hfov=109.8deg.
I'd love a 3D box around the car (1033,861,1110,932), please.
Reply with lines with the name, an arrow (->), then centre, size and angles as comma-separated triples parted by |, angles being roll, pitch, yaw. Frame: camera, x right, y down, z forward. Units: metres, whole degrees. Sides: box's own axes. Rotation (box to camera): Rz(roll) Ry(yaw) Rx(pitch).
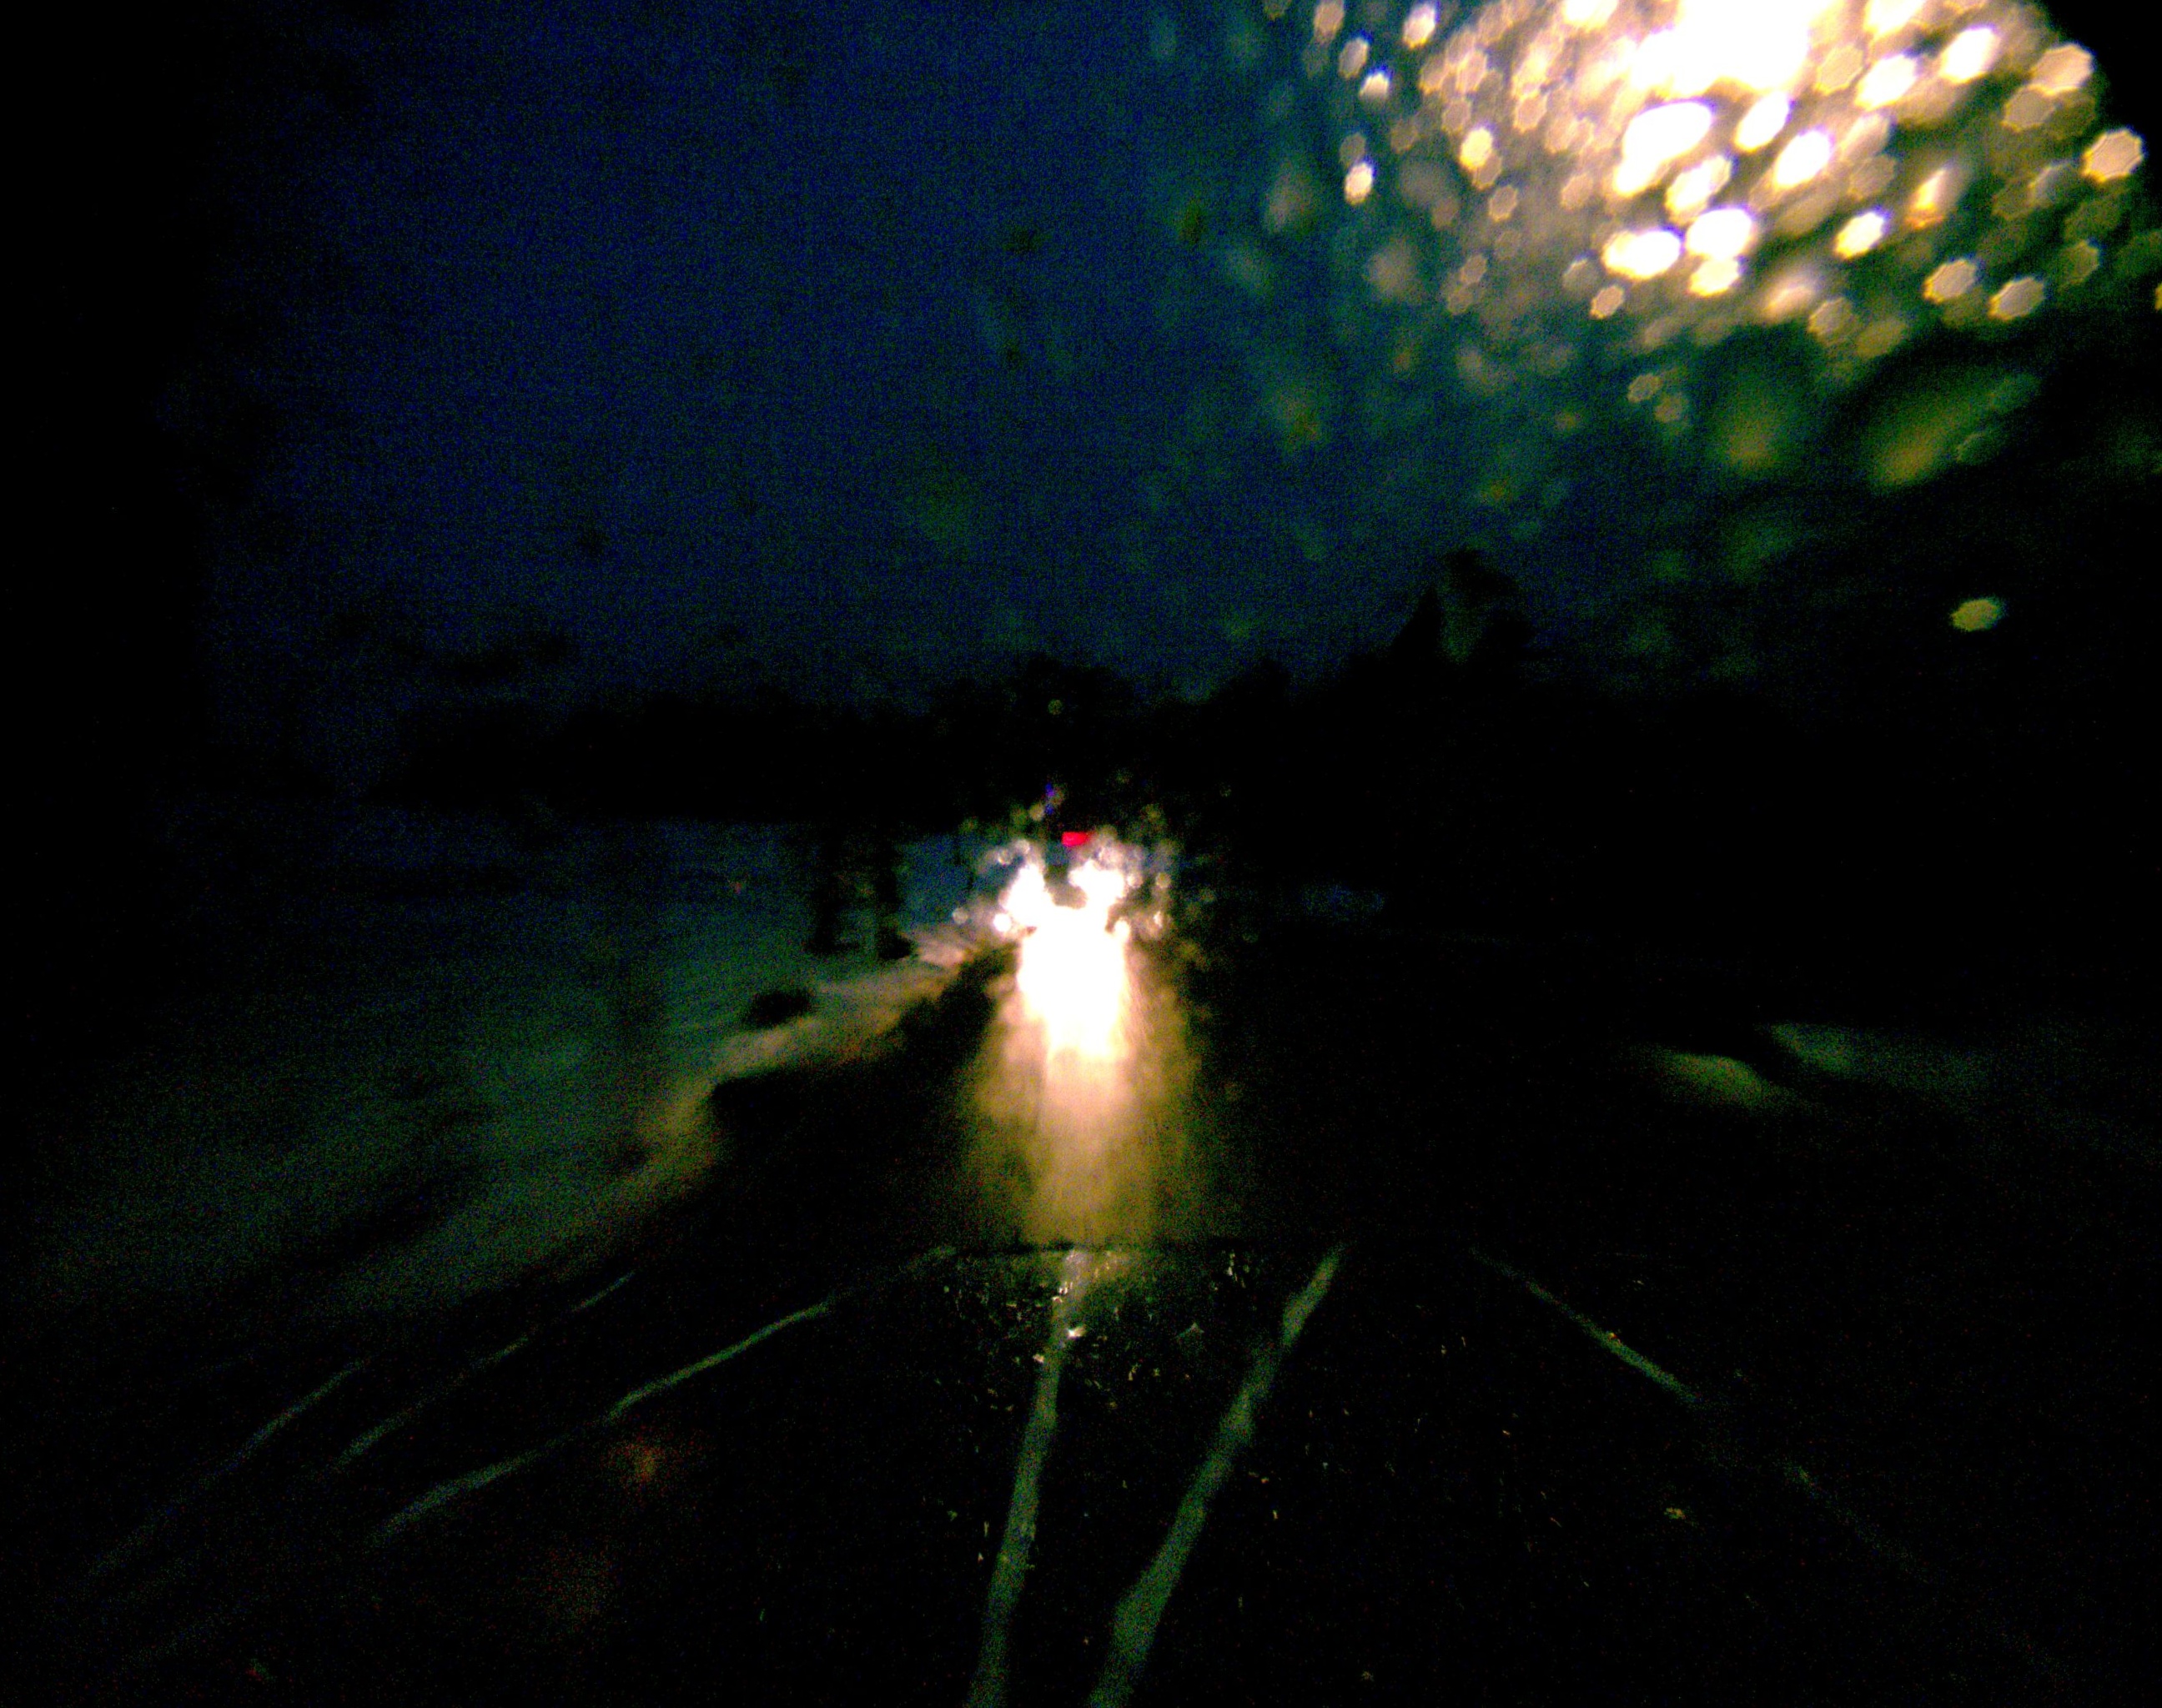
car -> -0.248, 0.950, 18.621 | 1.650, 1.446, 3.679 | -2, 0, -2
